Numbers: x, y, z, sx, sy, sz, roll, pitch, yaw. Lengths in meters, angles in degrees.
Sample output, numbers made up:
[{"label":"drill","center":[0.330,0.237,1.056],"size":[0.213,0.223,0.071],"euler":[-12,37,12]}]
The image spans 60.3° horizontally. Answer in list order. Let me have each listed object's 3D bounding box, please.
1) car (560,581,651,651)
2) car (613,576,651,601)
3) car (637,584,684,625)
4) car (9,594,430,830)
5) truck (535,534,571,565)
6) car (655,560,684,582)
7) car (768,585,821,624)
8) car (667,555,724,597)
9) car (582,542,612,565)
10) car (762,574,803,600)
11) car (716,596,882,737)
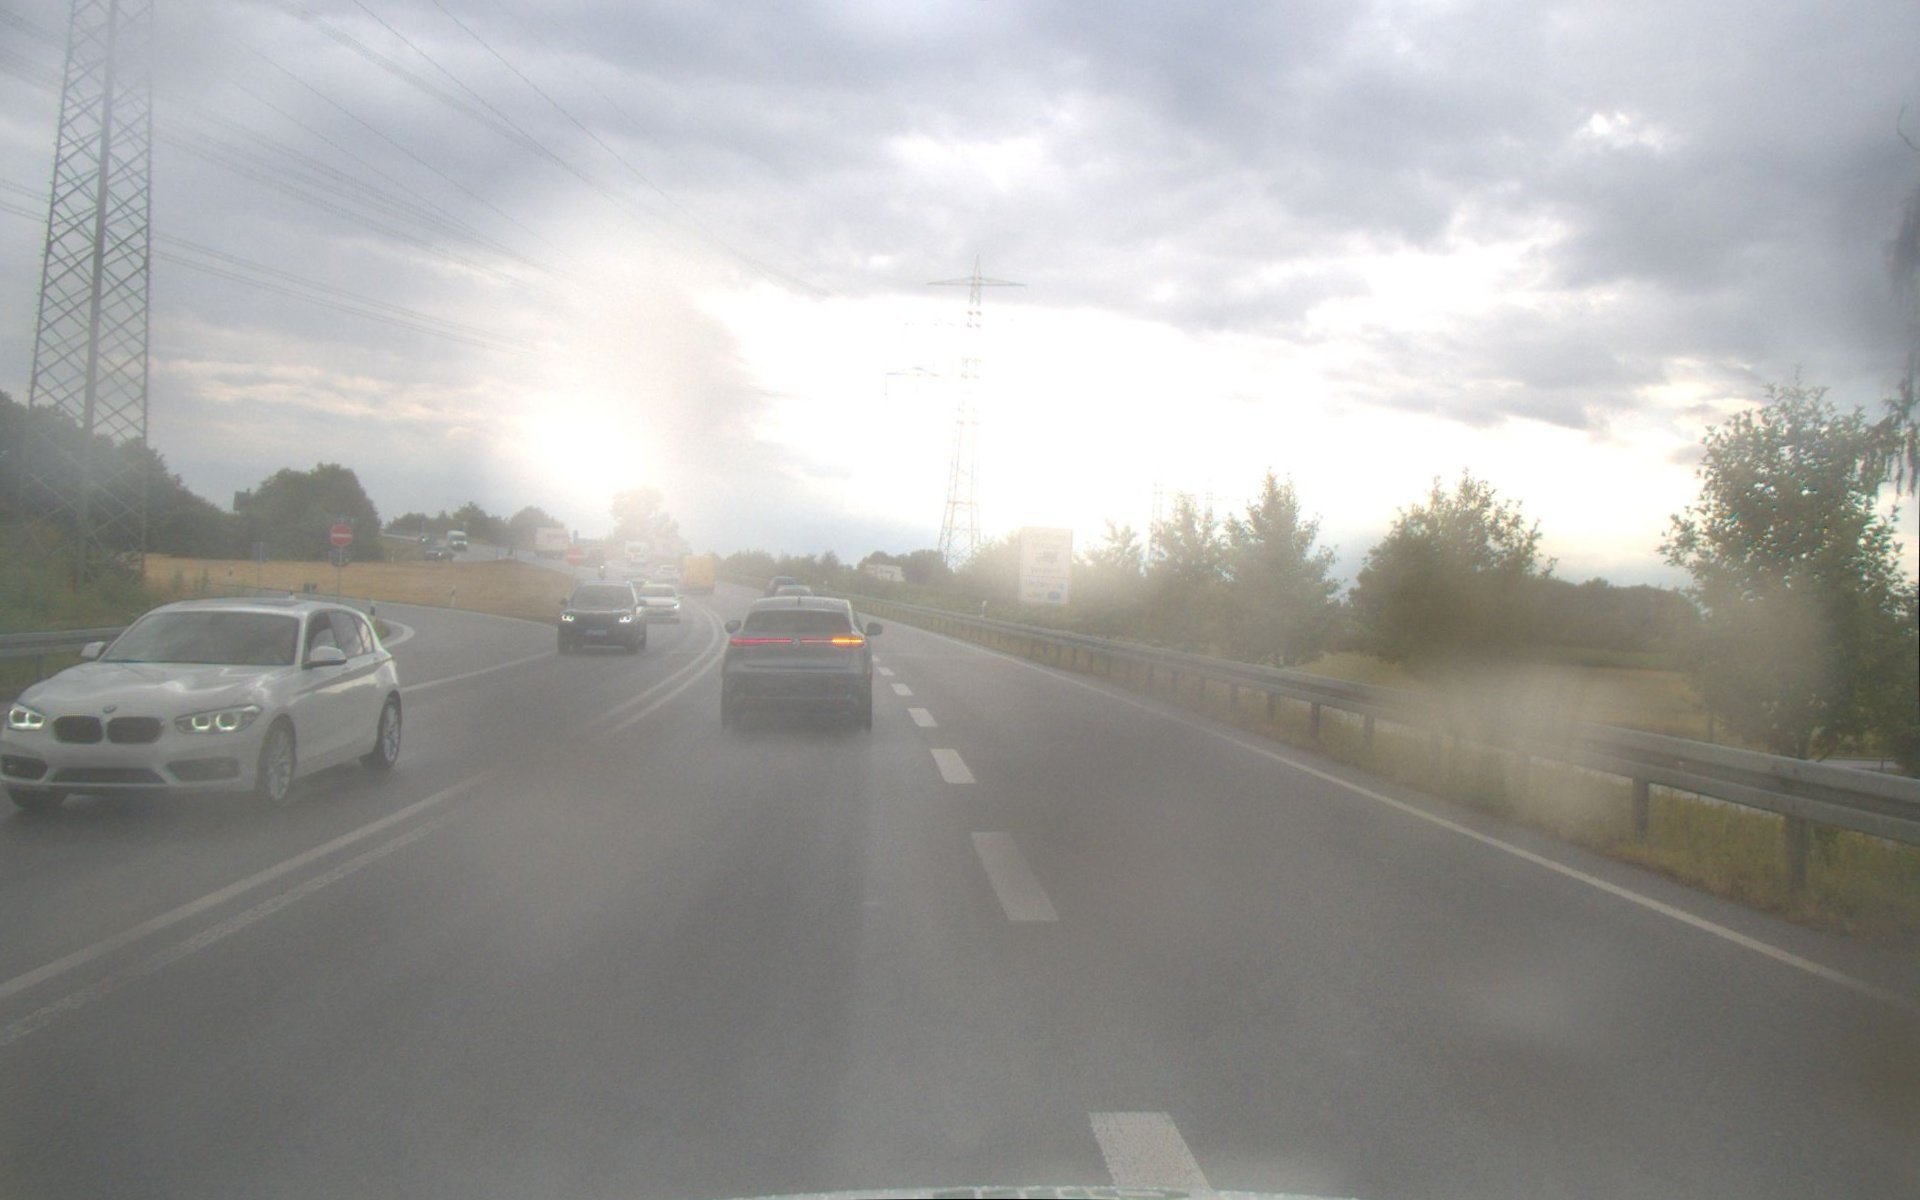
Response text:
[{"label":"car","center":[-8.571,0.388,40.233],"size":[1.765,1.602,4.253],"euler":[1,-1,-7]},{"label":"car","center":[-22.722,-0.750,114.560],"size":[1.775,1.622,4.196],"euler":[2,-1,-22]},{"label":"car","center":[-11.848,0.192,65.619],"size":[1.674,1.506,4.600],"euler":[2,-1,-9]},{"label":"car","center":[-5.487,0.731,12.855],"size":[1.647,1.483,4.071],"euler":[3,0,-5]},{"label":"truck","center":[-49.536,-6.105,201.118],"size":[3.004,3.444,7.591],"euler":[2,0,-23]},{"label":"car","center":[-24.008,-2.384,136.797],"size":[1.764,1.717,3.979],"euler":[2,1,-18]},{"label":"car","center":[-6.535,0.175,65.062],"size":[1.759,1.466,3.991],"euler":[1,0,-10]},{"label":"car","center":[-18.295,-1.661,114.047],"size":[2.535,2.773,7.154],"euler":[0,1,-20]},{"label":"car","center":[-39.110,-4.959,178.218],"size":[2.562,2.290,5.507],"euler":[2,0,-18]},{"label":"car","center":[-10.963,-0.770,102.013],"size":[1.764,1.568,3.979],"euler":[1,0,-18]},{"label":"car","center":[-1.928,0.778,20.171],"size":[1.756,1.466,3.995],"euler":[3,-2,-5]}]
